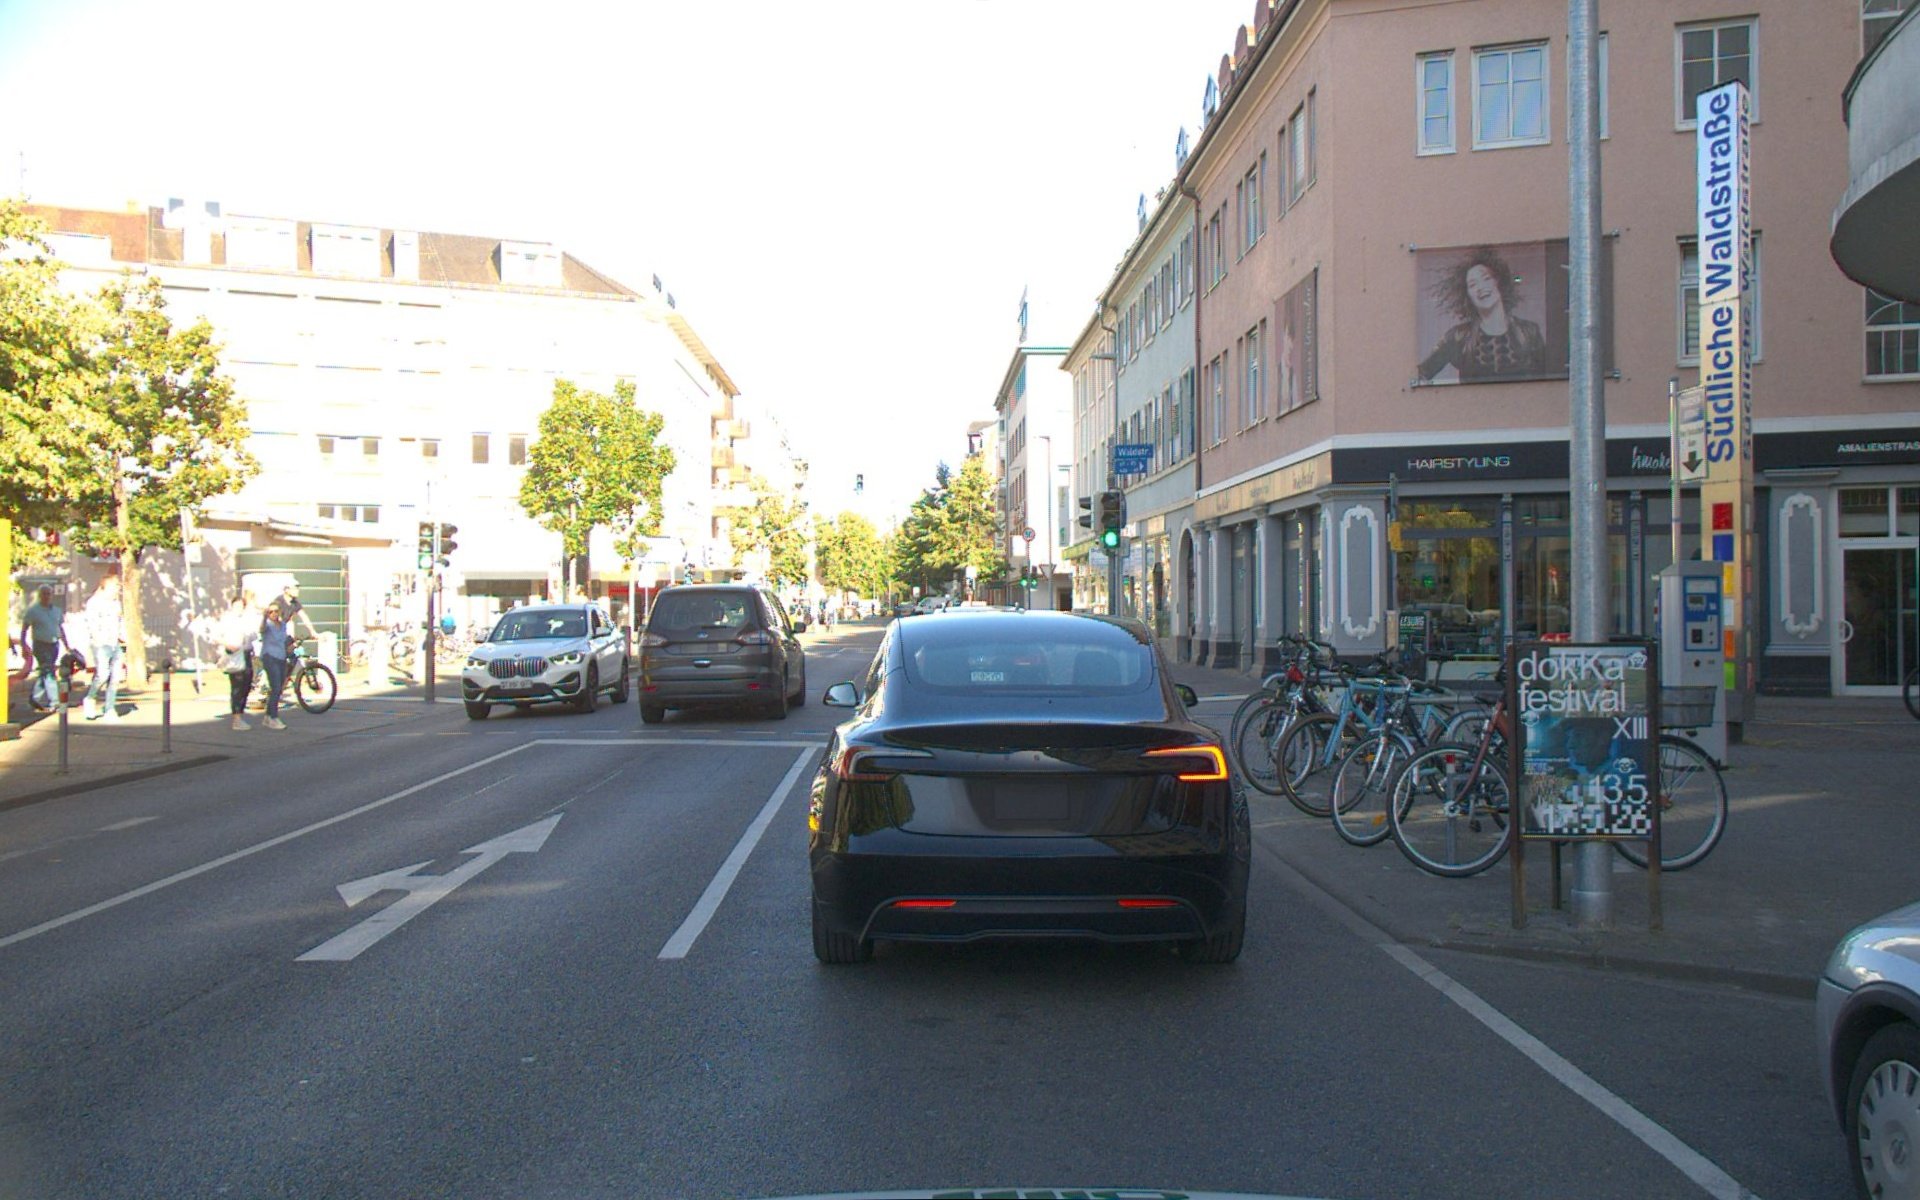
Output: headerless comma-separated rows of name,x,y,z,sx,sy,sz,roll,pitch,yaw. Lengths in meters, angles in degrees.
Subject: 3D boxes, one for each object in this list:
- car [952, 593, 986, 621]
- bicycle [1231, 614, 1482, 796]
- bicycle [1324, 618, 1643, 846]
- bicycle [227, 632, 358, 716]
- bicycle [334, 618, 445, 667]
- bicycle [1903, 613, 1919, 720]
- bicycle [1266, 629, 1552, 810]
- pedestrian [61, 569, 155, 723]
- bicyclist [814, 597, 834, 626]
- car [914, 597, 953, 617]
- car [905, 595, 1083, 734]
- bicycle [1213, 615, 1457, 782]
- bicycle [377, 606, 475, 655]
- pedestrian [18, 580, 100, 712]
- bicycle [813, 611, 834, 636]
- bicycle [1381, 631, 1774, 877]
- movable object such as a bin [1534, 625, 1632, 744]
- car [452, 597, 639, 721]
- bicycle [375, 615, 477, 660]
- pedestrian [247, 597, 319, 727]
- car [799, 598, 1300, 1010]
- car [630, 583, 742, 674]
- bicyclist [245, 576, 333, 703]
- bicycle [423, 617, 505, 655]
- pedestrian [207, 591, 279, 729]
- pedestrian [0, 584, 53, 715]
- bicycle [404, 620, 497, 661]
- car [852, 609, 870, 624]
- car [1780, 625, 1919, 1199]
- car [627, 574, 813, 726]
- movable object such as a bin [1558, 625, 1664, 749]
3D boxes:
car,0.517,0.397,99.734,1.953,1.657,3.999,0,0,-1
bicycle,2.989,0.782,12.596,1.709,1.289,0.781,-2,0,2
bicycle,3.142,0.781,10.068,1.686,1.290,0.791,-2,0,5
bicycle,-10.088,1.100,24.972,2.019,1.159,0.538,2,0,23
bicycle,-14.209,1.053,41.251,2.455,1.176,0.842,0,0,-2
bicycle,11.559,0.715,18.191,1.926,1.169,0.791,-1,-1,18
bicycle,3.058,0.808,11.418,1.760,1.144,0.782,-2,0,5
pedestrian,-11.336,0.602,22.028,0.811,1.989,0.710,1,0,11
bicyclist,-7.769,0.674,94.396,1.104,1.657,0.964,0,0,-4
car,-2.675,0.693,166.419,3.907,2.049,1.999,0,0,-2
car,0.309,0.714,20.422,1.953,1.538,4.173,0,0,-2
bicycle,3.053,0.792,13.627,1.822,1.280,0.833,-2,0,5
bicycle,-14.733,0.842,45.708,2.429,1.347,0.921,0,0,-7
pedestrian,-12.998,0.648,23.857,0.828,1.859,0.740,0,-1,33
bicycle,-7.753,1.301,94.300,1.089,1.368,3.997,0,0,-4
bicycle,3.289,0.812,8.938,1.846,1.214,0.692,-2,0,5
movable object such as a bin,6.022,0.802,16.014,0.718,1.111,0.627,1,-1,1
car,-6.130,0.812,24.947,1.771,1.582,4.308,-4,0,-2
bicycle,-14.124,0.981,43.785,2.412,1.176,0.842,0,0,-2
pedestrian,-8.982,0.808,21.950,0.671,1.692,0.619,0,-1,35
car,0.297,0.746,7.979,1.810,1.480,3.999,0,0,-1
car,-6.335,0.628,38.682,1.797,1.877,4.673,-4,0,-1
bicyclist,-10.154,0.587,25.031,0.930,1.870,0.788,1,0,23
bicycle,-15.239,1.103,50.884,2.279,1.176,0.841,0,0,-6
pedestrian,-9.270,0.761,21.388,0.537,1.758,0.673,0,-1,32
pedestrian,-13.342,0.684,23.275,0.877,1.799,0.652,0,-1,30
bicycle,-14.913,1.168,48.461,2.485,1.176,0.841,0,0,-6
car,-11.102,1.807,185.786,1.954,1.666,3.997,0,0,-4
car,2.939,0.786,2.487,1.580,1.406,3.642,1,0,0
car,-3.089,0.598,22.237,1.953,1.803,4.726,-1,0,-2
movable object such as a bin,6.043,0.798,15.377,0.737,1.111,0.627,1,-1,1
